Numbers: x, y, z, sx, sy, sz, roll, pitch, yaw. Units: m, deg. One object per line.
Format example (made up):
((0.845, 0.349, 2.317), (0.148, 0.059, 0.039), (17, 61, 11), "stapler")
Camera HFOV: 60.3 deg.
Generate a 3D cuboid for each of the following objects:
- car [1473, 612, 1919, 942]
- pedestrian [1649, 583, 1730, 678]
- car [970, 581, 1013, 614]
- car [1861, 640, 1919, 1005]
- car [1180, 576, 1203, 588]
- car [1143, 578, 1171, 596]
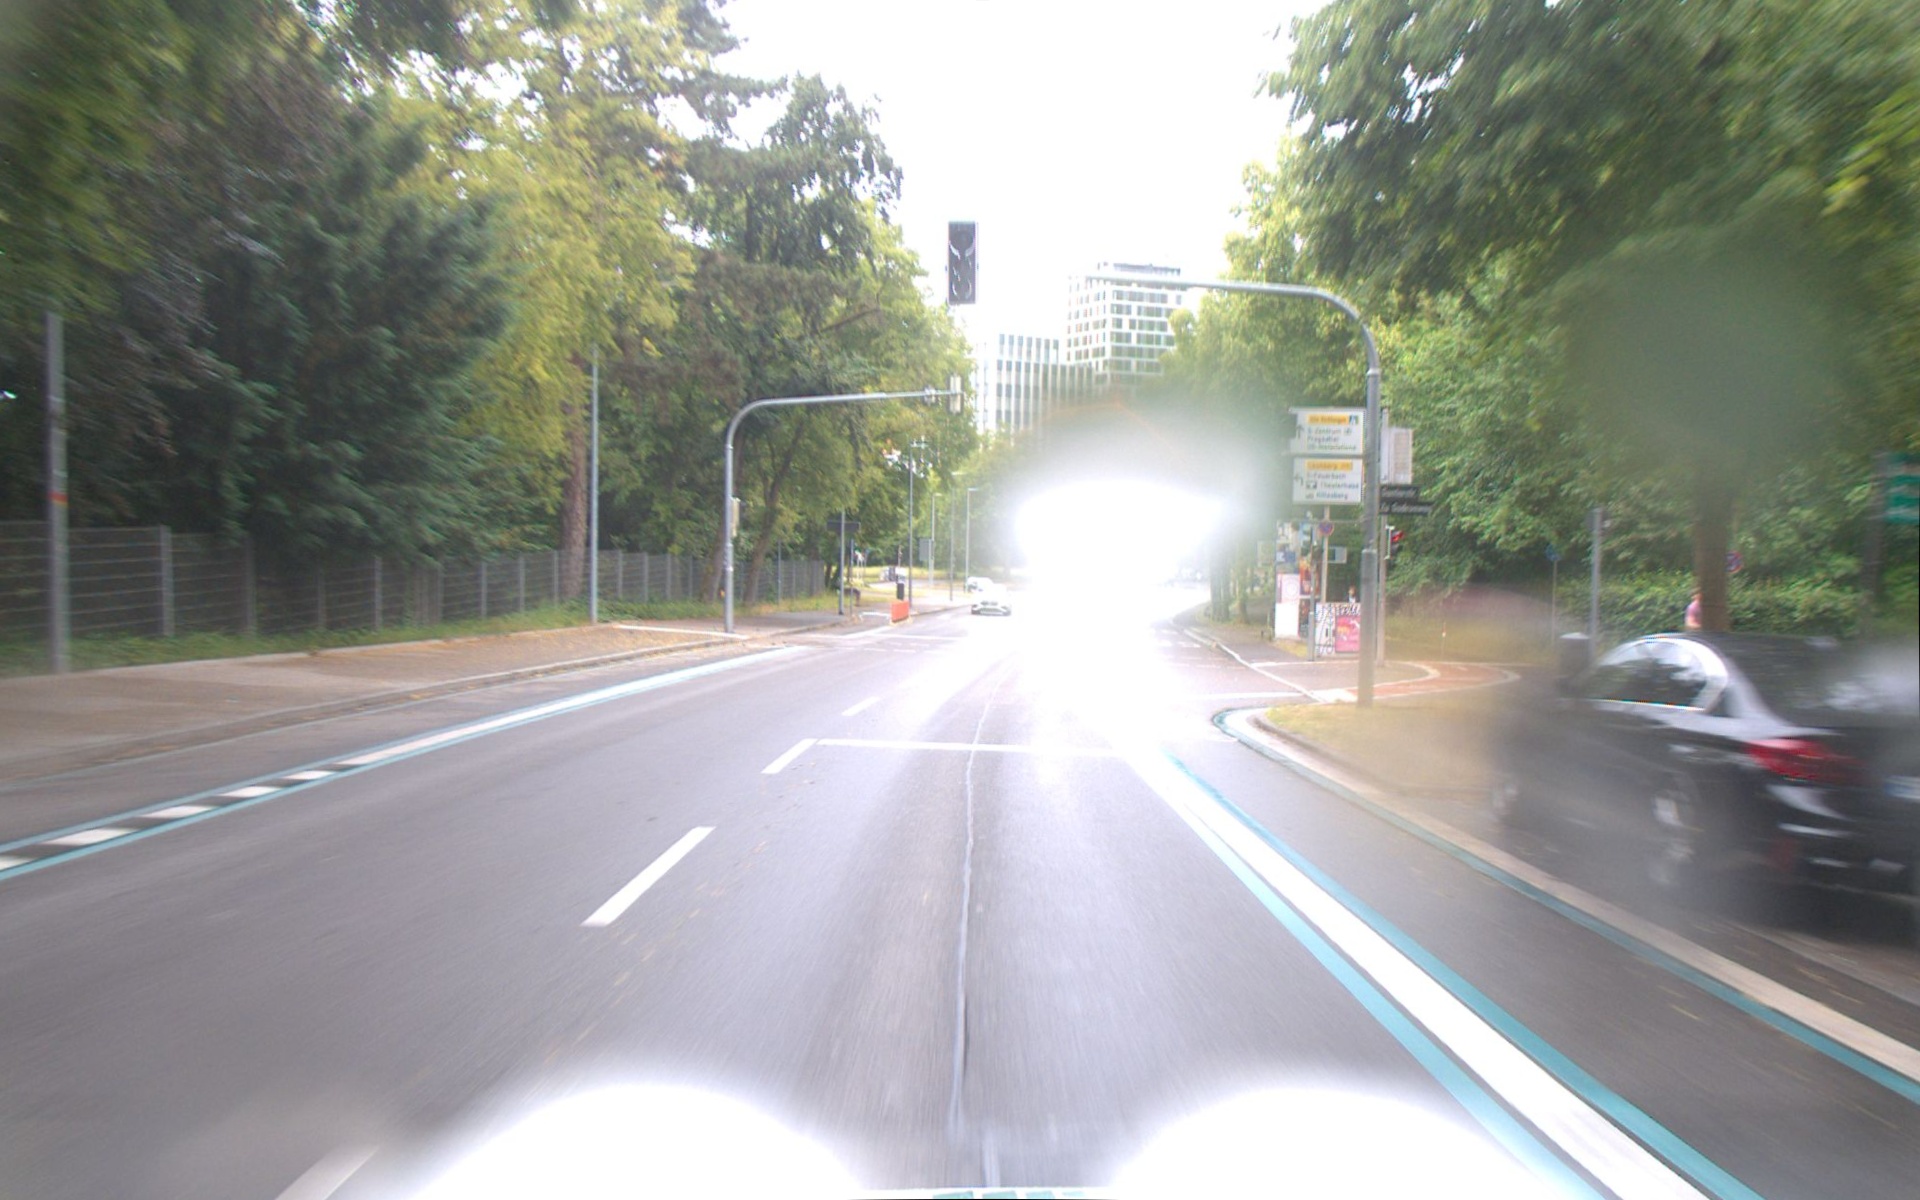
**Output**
((4.755, 0.871, 10.129), (1.721, 1.465, 4.857), (3, 0, 1), "car")
((14.019, 0.582, 31.793), (0.883, 1.763, 1.128), (2, 0, -43), "pedestrian")
((1.613, -0.134, 82.938), (1.804, 1.482, 4.503), (2, 1, 5), "car")
((4.763, 0.940, 4.644), (1.665, 1.445, 4.761), (3, 0, -2), "car")
((27.271, -2.082, 195.010), (1.772, 1.309, 3.739), (2, 0, 22), "car")
((20.339, -1.306, 170.399), (1.953, 1.715, 4.000), (2, 0, 21), "car")
